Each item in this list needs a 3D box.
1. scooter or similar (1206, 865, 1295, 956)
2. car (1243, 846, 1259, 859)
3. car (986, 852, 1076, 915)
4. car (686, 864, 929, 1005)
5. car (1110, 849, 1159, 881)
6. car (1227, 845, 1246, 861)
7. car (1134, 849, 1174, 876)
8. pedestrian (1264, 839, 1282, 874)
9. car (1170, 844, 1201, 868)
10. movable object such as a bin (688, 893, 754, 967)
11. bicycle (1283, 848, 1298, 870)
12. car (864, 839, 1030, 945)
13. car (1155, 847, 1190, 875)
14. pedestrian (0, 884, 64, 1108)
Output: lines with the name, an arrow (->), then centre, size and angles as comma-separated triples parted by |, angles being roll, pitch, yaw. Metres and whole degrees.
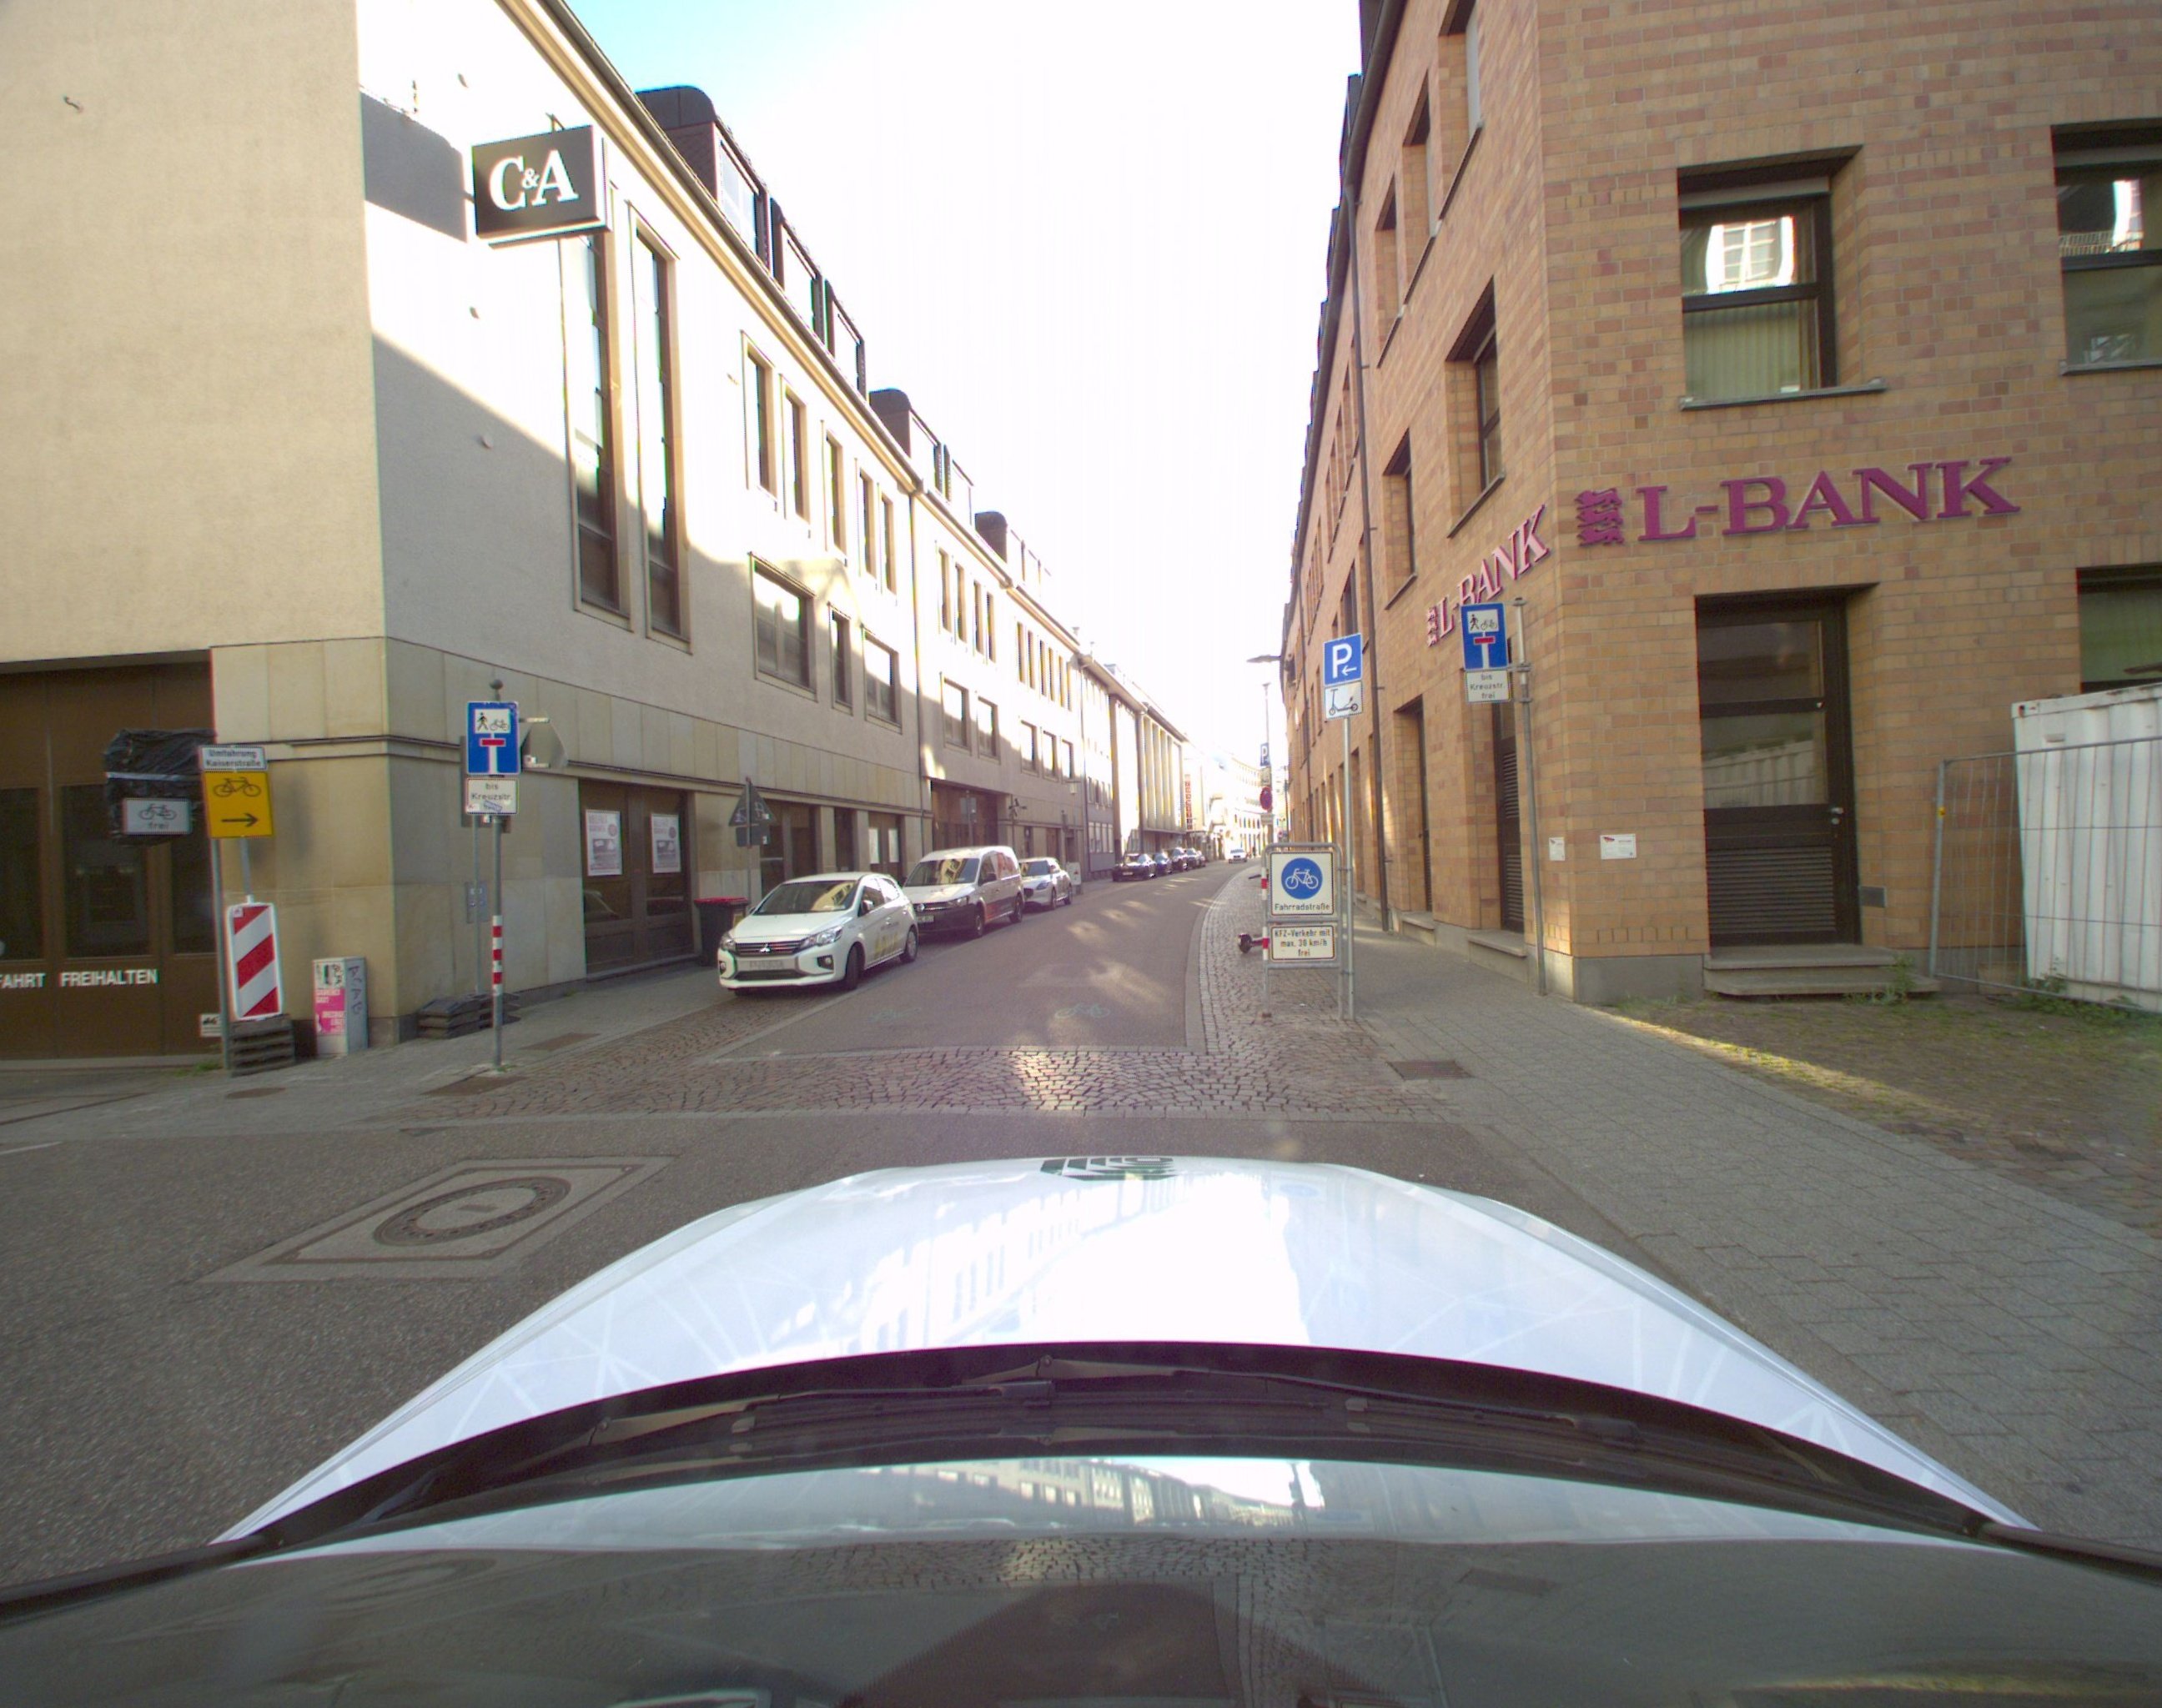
scooter or similar -> 2.570, 0.815, 12.258 | 1.426, 1.235, 0.532 | -2, 1, -41
car -> 21.847, -0.226, 104.571 | 1.627, 1.517, 4.176 | -3, 0, 14
car -> -1.359, 0.793, 23.652 | 1.659, 1.522, 3.786 | -5, 0, 10
car -> -3.600, 0.984, 11.524 | 1.728, 1.492, 3.806 | -4, 0, 6
car -> 2.946, 0.547, 44.106 | 1.877, 1.530, 4.745 | -3, 0, 12
car -> 15.578, -0.121, 81.340 | 1.703, 1.517, 4.174 | -3, 0, 12
car -> 4.542, 0.488, 50.292 | 1.877, 1.530, 4.354 | -3, 0, 12
pedestrian -> 9.943, 0.134, 42.252 | 0.755, 1.716, 0.824 | -4, 0, 12
car -> 8.150, 0.136, 63.208 | 1.877, 1.742, 4.405 | -3, 0, 12
movable object such as a bin -> -5.637, 1.181, 12.773 | 0.733, 1.101, 0.592 | -1, -1, 6
bicycle -> 11.297, 0.269, 44.016 | 0.546, 1.103, 1.988 | -6, 0, 10
car -> -2.649, 0.686, 17.409 | 1.887, 1.857, 4.747 | -4, 0, 10
car -> 6.342, 0.451, 55.923 | 1.877, 1.675, 4.569 | -3, 0, 12
pedestrian -> -9.428, 1.207, 6.807 | 0.858, 1.854, 0.714 | -4, -1, -7
